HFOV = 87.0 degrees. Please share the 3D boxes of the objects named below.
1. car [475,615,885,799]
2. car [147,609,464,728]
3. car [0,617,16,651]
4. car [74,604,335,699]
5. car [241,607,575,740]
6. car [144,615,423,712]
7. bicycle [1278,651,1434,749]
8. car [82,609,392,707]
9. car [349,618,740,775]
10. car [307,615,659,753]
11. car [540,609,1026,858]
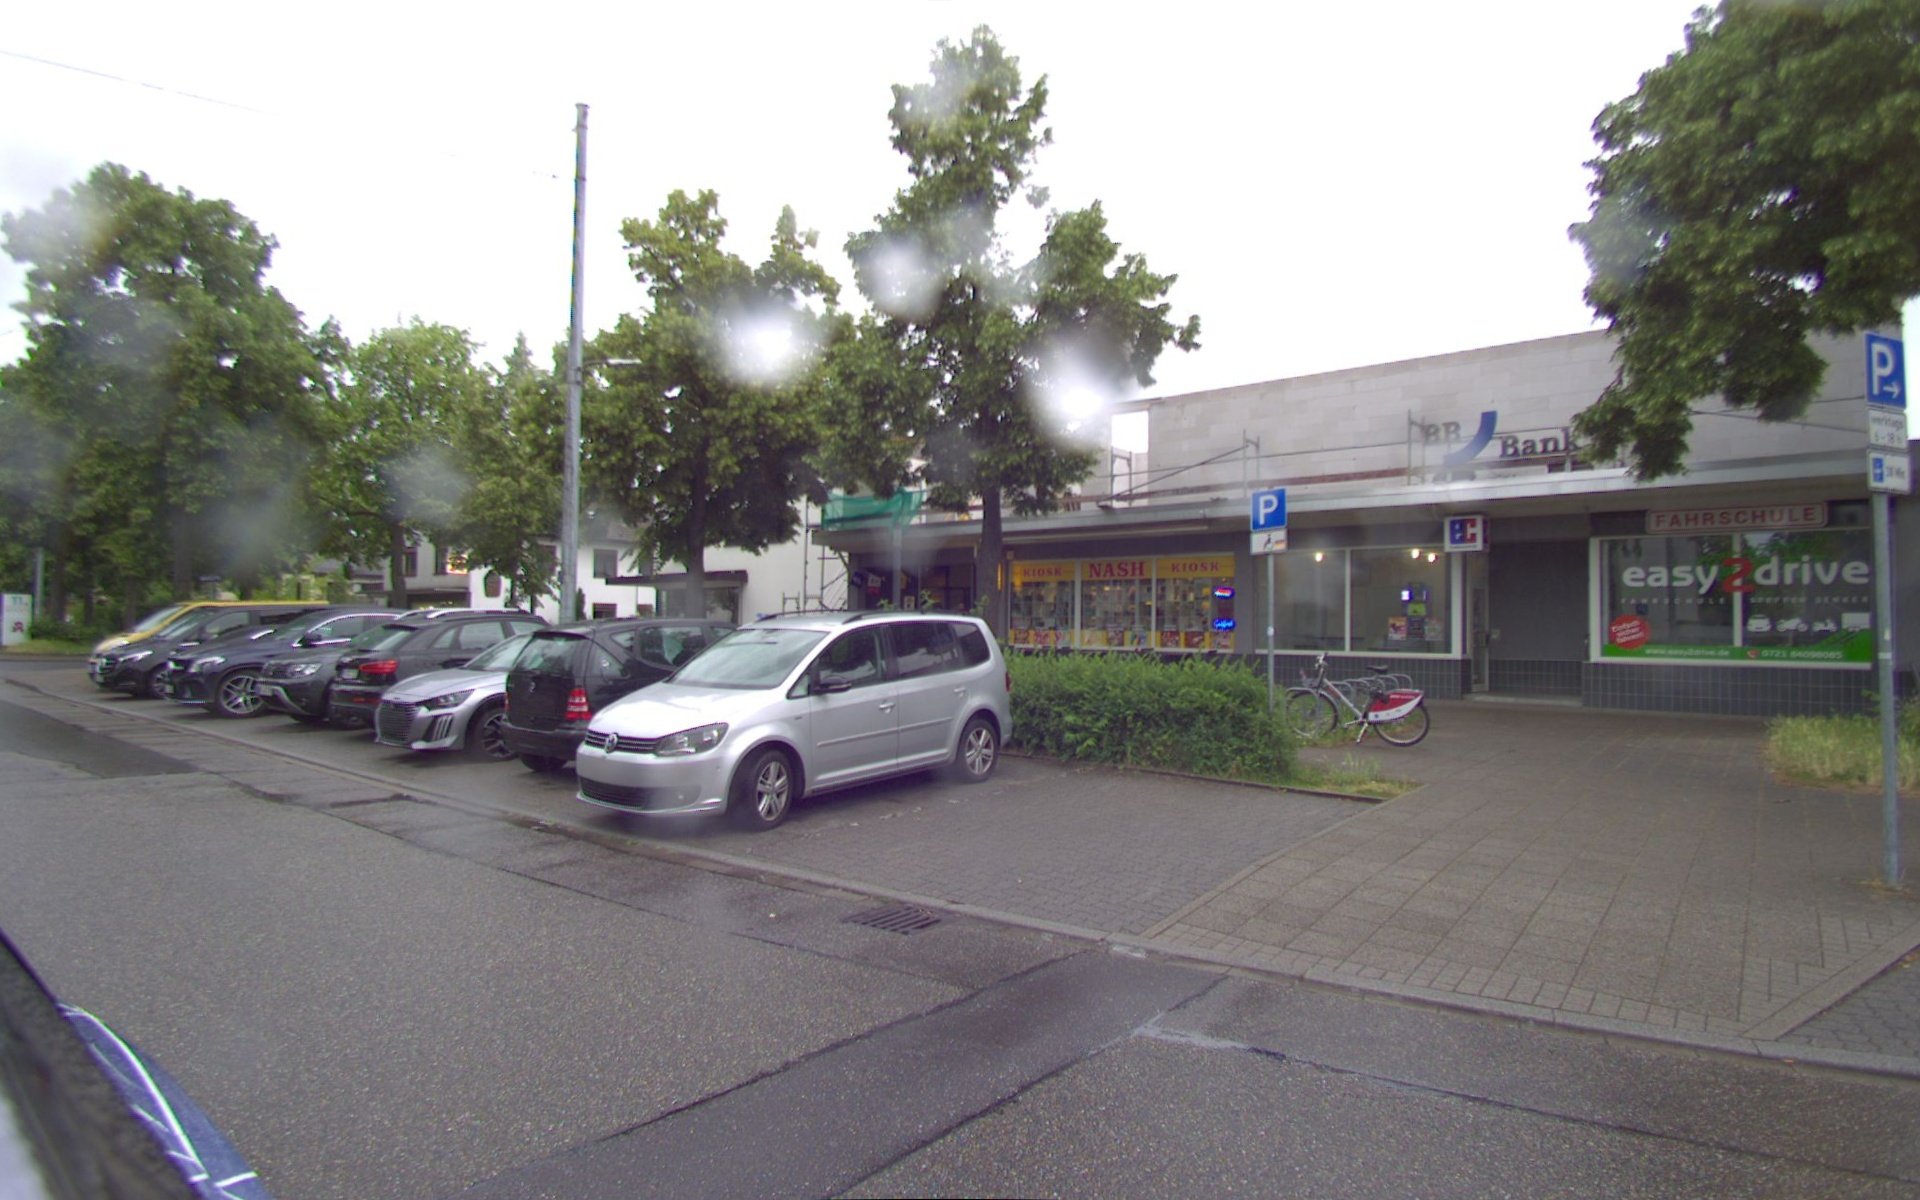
[{"bbox_3d":[-2.857,0.976,11.155,1.633,1.577,4.231,-1,0,38],"label":"car"},{"bbox_3d":[-10.996,1.040,17.276,1.713,1.740,4.231,-1,0,38],"label":"car"},{"bbox_3d":[-49.672,1.717,50.139,1.997,1.698,3.950,-1,0,37],"label":"car"},{"bbox_3d":[-17.428,1.089,23.569,1.713,1.973,4.600,-1,-1,38],"label":"car"},{"bbox_3d":[-8.341,0.990,15.641,1.713,1.740,4.231,-1,0,38],"label":"car"},{"bbox_3d":[-13.031,1.135,19.733,1.713,1.639,4.231,-1,0,38],"label":"car"},{"bbox_3d":[4.810,1.197,12.344,1.739,1.115,0.316,-1,0,25],"label":"bicycle"},{"bbox_3d":[-15.151,1.106,21.522,1.713,1.813,5.114,-1,0,38],"label":"car"},{"bbox_3d":[-4.957,1.032,12.606,1.713,1.544,4.231,-1,0,38],"label":"car"},{"bbox_3d":[-6.571,1.036,14.358,1.713,1.607,4.231,-1,0,38],"label":"car"},{"bbox_3d":[-1.303,0.915,9.011,1.713,1.647,4.231,-1,0,38],"label":"car"}]
